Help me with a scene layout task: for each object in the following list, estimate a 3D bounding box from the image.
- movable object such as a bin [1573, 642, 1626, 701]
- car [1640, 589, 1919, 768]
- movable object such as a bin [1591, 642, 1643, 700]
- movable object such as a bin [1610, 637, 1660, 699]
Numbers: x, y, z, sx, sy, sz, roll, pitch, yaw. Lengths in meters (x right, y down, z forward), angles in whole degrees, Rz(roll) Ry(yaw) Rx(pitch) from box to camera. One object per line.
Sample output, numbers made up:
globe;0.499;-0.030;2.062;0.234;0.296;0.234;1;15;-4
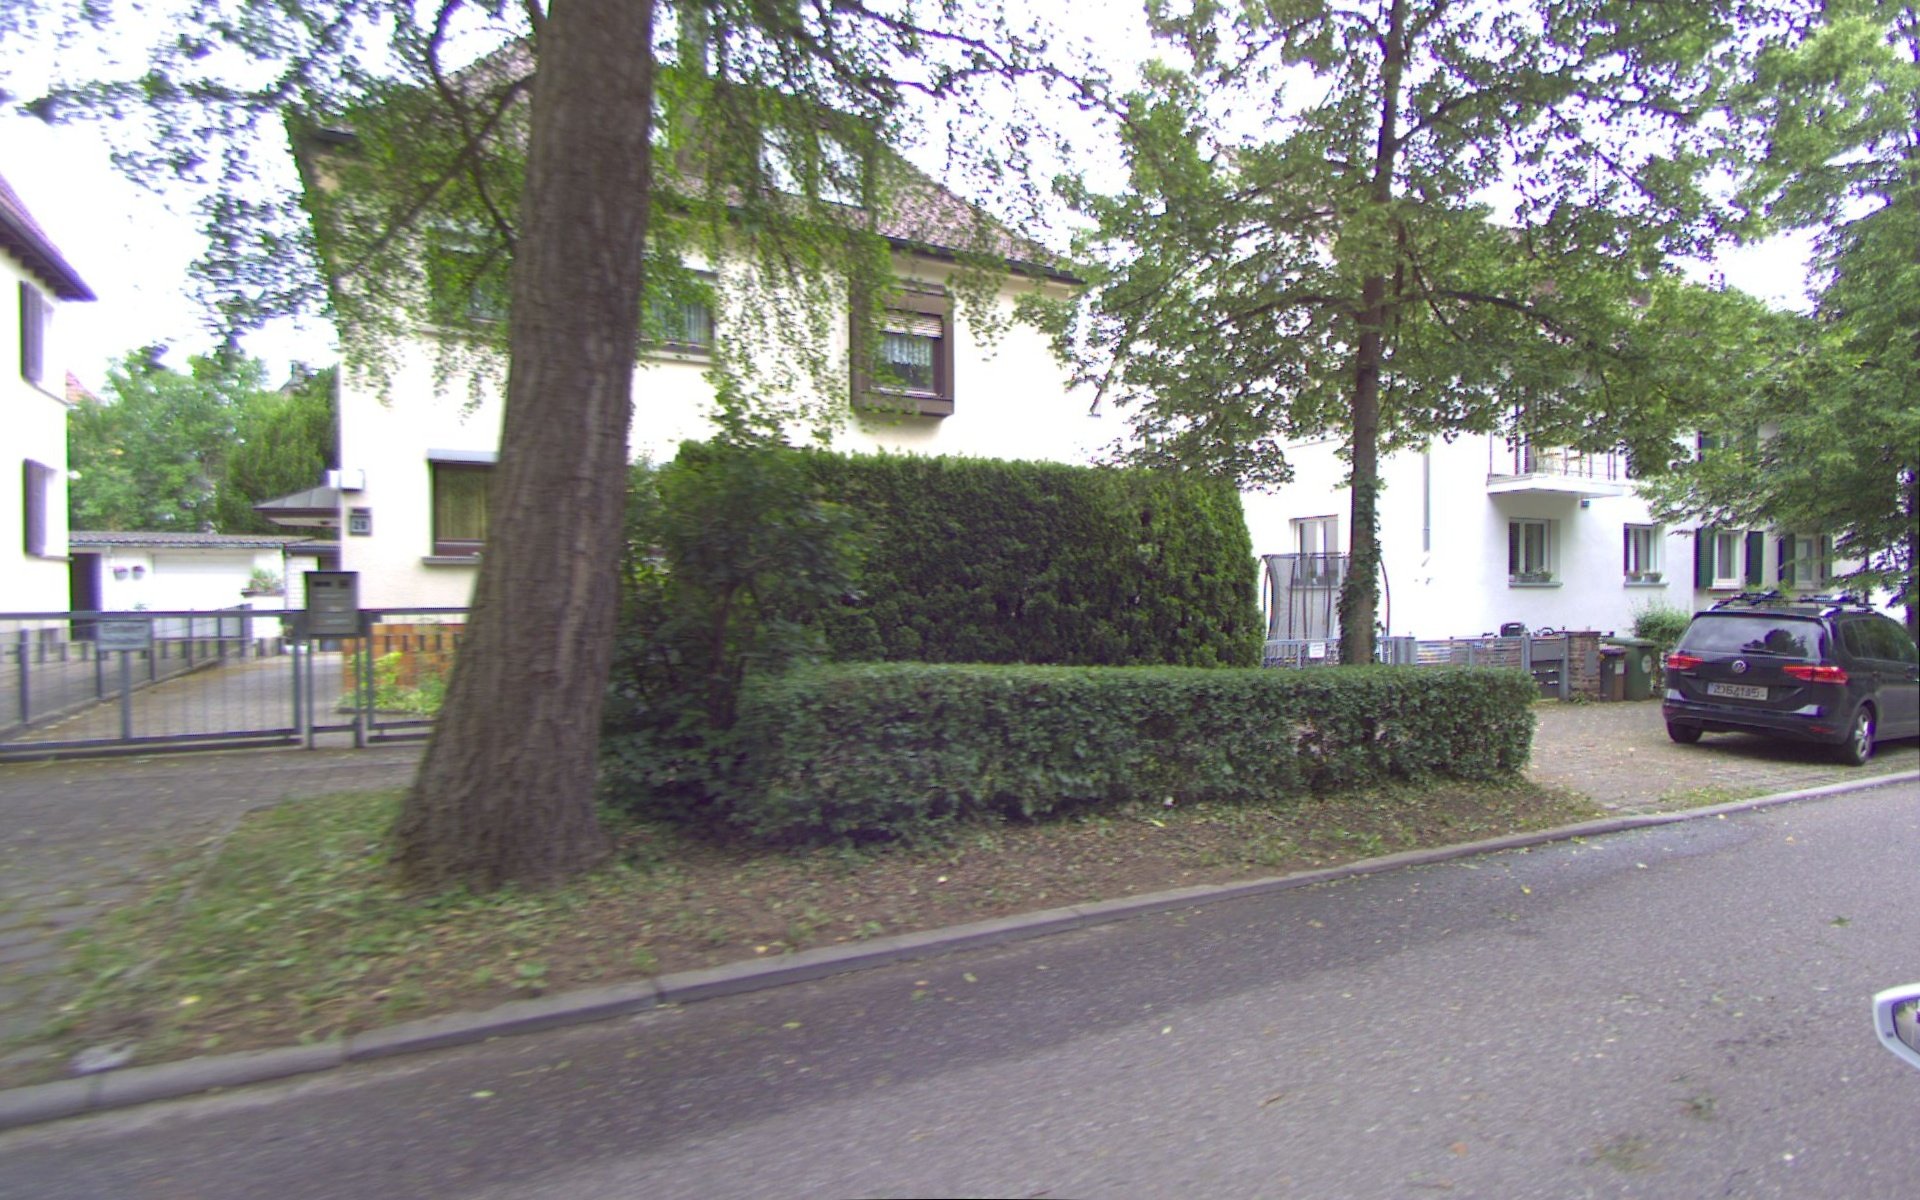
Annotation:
movable object such as a bin;10.644;1.180;16.716;0.634;0.953;0.556;1;-1;-35
car;10.148;0.806;11.991;4.406;1.777;1.814;1;0;-33
movable object such as a bin;11.189;1.193;17.116;0.634;0.953;0.556;1;-1;-35
movable object such as a bin;11.738;1.172;17.472;0.596;1.039;0.556;1;-1;-35
